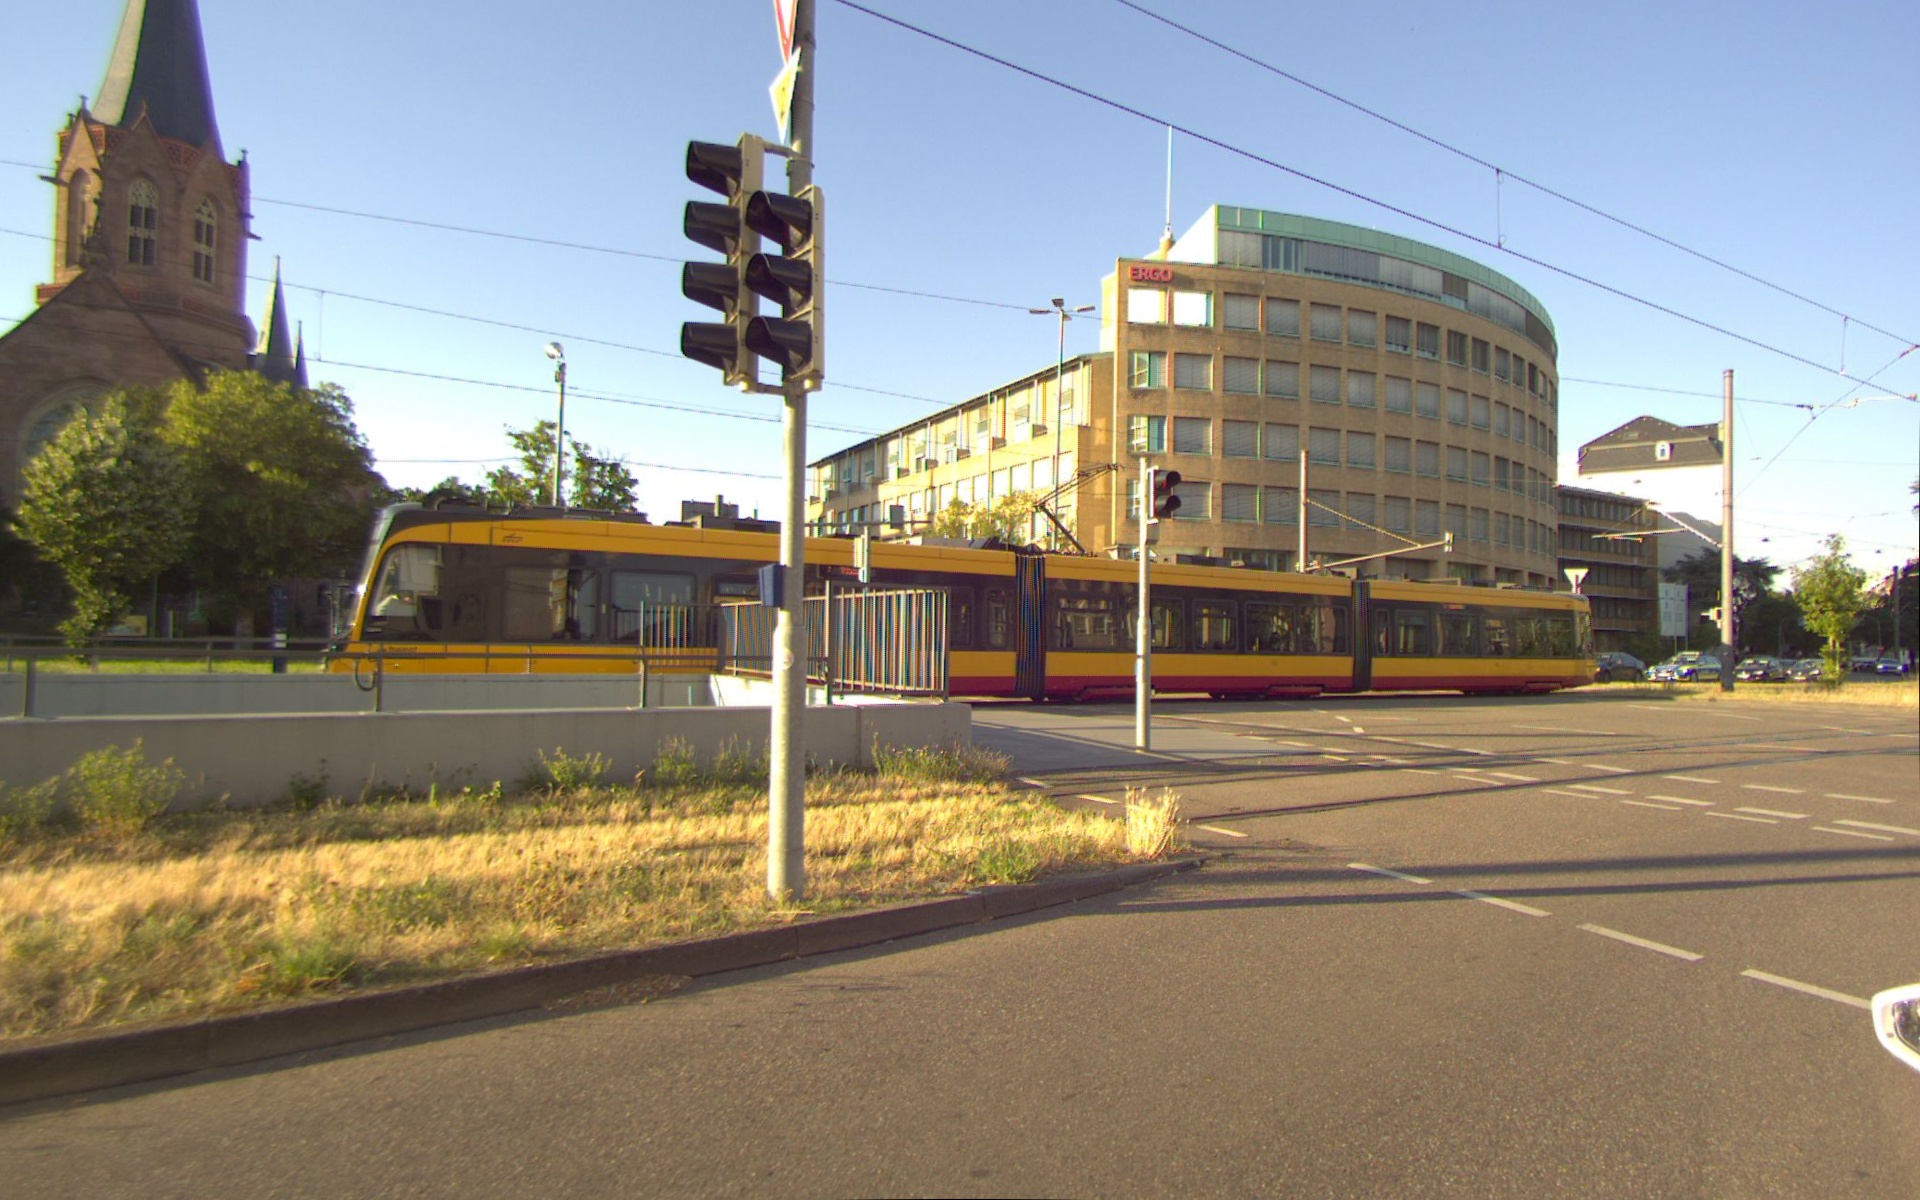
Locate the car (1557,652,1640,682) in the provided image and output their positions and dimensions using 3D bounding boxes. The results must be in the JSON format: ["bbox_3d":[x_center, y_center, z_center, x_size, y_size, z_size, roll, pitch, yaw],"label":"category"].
[{"bbox_3d":[29.394,3.087,46.237,3.744,1.299,1.717,2,-2,-30],"label":"car"}]

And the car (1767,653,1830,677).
[{"bbox_3d":[48.496,3.767,58.065,3.695,1.298,1.638,2,-2,-30],"label":"car"}]

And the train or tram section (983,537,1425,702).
[{"bbox_3d":[6.892,0.660,26.369,13.099,3.582,2.759,2,-2,-31],"label":"train or tram section"}]

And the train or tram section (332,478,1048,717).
[{"bbox_3d":[-4.415,0.202,19.610,13.099,3.582,2.759,2,-2,-31],"label":"train or tram section"}]

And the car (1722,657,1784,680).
[{"bbox_3d":[42.829,3.671,54.245,3.558,1.169,1.512,2,-2,-32],"label":"car"}]

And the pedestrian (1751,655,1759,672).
[{"bbox_3d":[69.528,5.576,87.879,0.479,1.449,0.411,2,-2,-30],"label":"pedestrian"}]

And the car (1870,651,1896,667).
[{"bbox_3d":[91.937,5.859,100.067,1.752,1.502,4.282,-1,-3,45],"label":"car"}]

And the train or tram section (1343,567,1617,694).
[{"bbox_3d":[16.979,1.063,32.395,10.449,3.582,2.759,2,-2,-31],"label":"train or tram section"}]

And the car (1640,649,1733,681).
[{"bbox_3d":[36.267,3.244,50.154,4.721,1.500,1.882,2,-2,-28],"label":"car"}]
